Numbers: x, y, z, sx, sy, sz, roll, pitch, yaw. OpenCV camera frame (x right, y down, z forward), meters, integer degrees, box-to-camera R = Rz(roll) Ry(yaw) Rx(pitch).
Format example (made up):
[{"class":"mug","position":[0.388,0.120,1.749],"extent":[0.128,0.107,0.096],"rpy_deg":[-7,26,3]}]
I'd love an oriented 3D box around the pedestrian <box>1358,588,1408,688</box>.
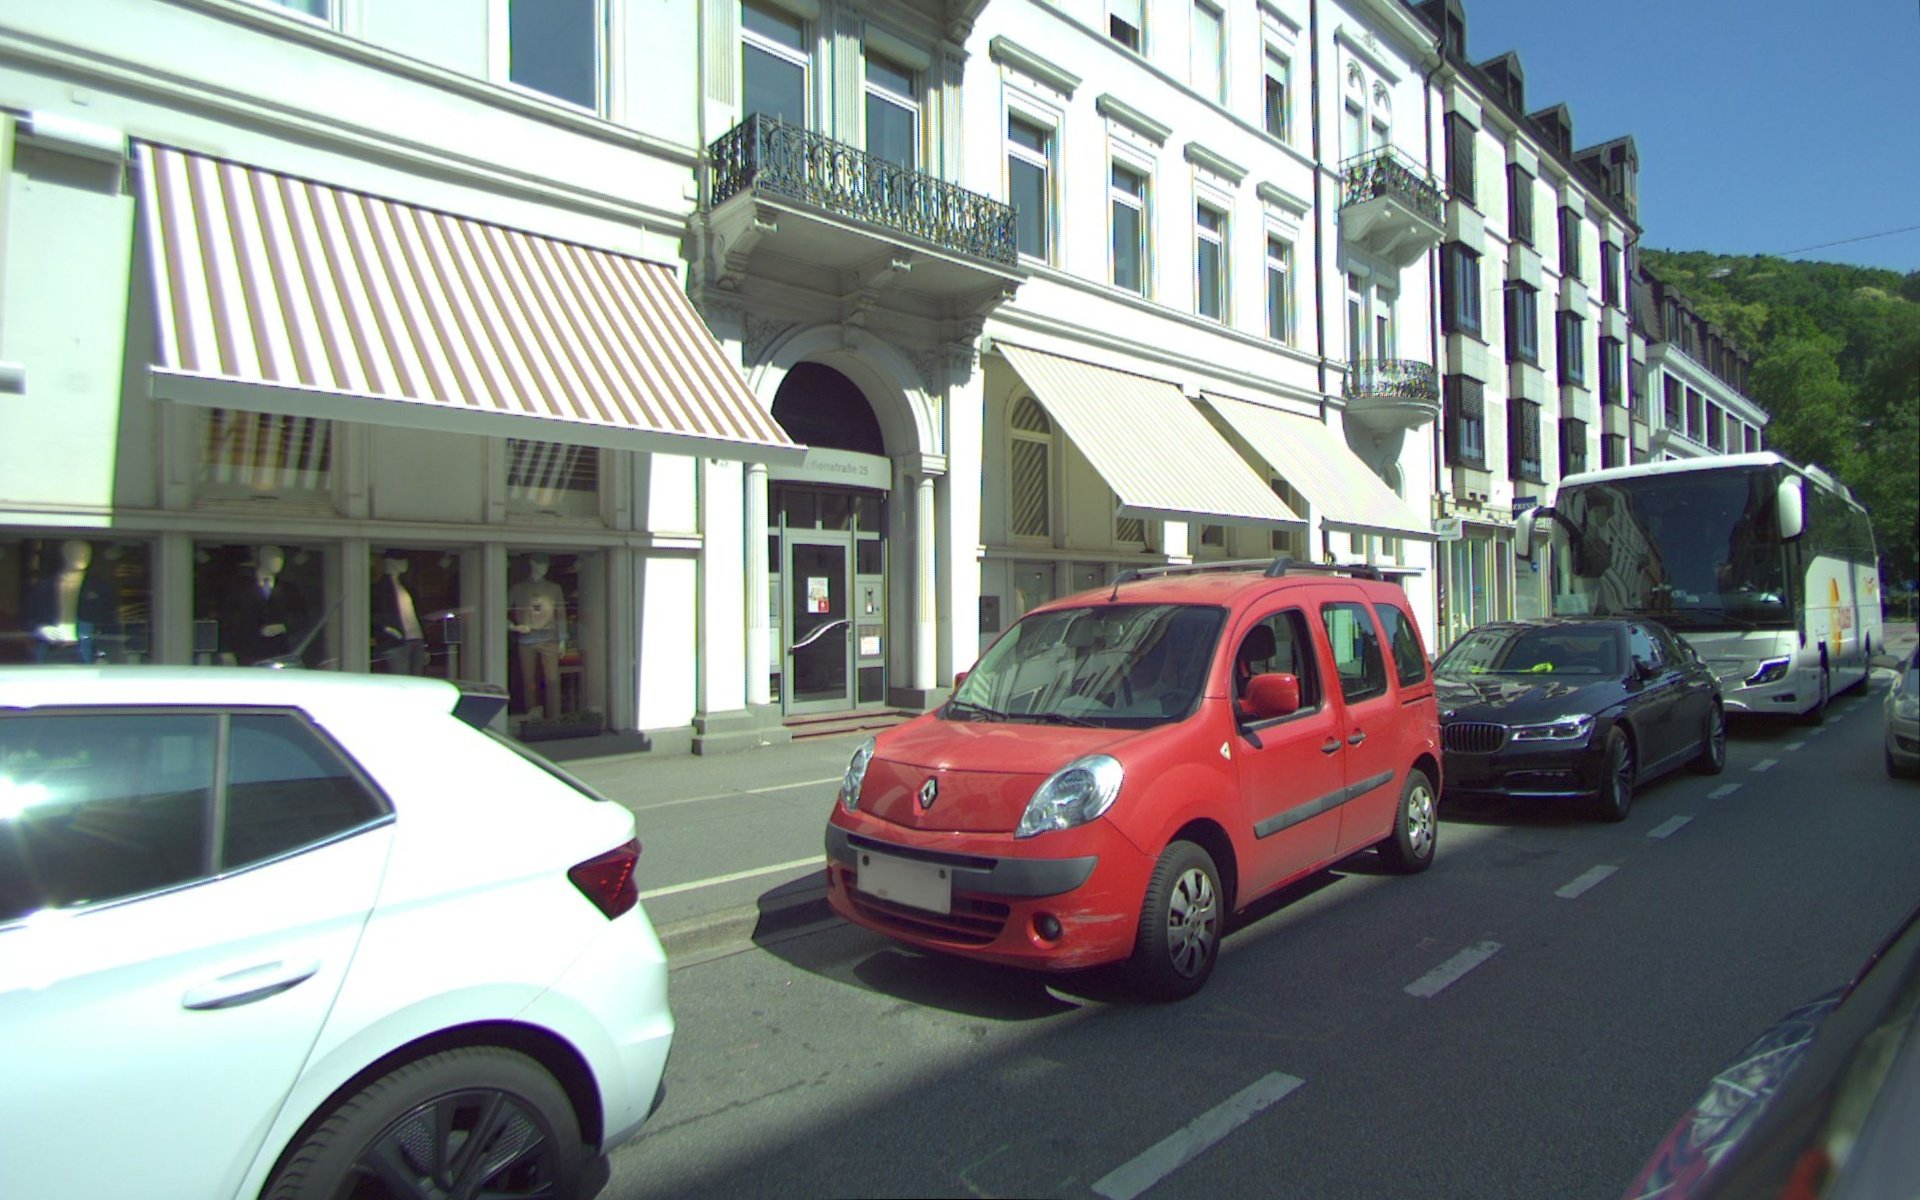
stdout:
[{"class":"pedestrian","position":[7.617,0.672,18.221],"extent":[0.756,1.753,0.567],"rpy_deg":[0,-1,-42]}]

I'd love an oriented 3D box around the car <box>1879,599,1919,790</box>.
[{"class":"car","position":[9.813,0.738,9.110],"extent":[4.329,1.542,1.710],"rpy_deg":[0,-1,-41]}]

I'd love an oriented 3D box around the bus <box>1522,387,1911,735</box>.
[{"class":"bus","position":[12.754,-0.386,16.261],"extent":[12.220,3.791,2.882],"rpy_deg":[0,-3,-44]}]

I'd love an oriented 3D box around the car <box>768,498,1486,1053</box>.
[{"class":"car","position":[1.241,0.644,5.656],"extent":[1.826,1.888,4.285],"rpy_deg":[-4,-3,44]}]

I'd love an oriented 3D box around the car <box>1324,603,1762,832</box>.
[{"class":"car","position":[5.459,0.821,9.103],"extent":[5.135,1.489,1.861],"rpy_deg":[0,-3,-42]}]

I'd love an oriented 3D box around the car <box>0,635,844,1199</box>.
[{"class":"car","position":[-2.543,0.844,1.837],"extent":[1.813,1.485,4.506],"rpy_deg":[-4,-4,45]}]
